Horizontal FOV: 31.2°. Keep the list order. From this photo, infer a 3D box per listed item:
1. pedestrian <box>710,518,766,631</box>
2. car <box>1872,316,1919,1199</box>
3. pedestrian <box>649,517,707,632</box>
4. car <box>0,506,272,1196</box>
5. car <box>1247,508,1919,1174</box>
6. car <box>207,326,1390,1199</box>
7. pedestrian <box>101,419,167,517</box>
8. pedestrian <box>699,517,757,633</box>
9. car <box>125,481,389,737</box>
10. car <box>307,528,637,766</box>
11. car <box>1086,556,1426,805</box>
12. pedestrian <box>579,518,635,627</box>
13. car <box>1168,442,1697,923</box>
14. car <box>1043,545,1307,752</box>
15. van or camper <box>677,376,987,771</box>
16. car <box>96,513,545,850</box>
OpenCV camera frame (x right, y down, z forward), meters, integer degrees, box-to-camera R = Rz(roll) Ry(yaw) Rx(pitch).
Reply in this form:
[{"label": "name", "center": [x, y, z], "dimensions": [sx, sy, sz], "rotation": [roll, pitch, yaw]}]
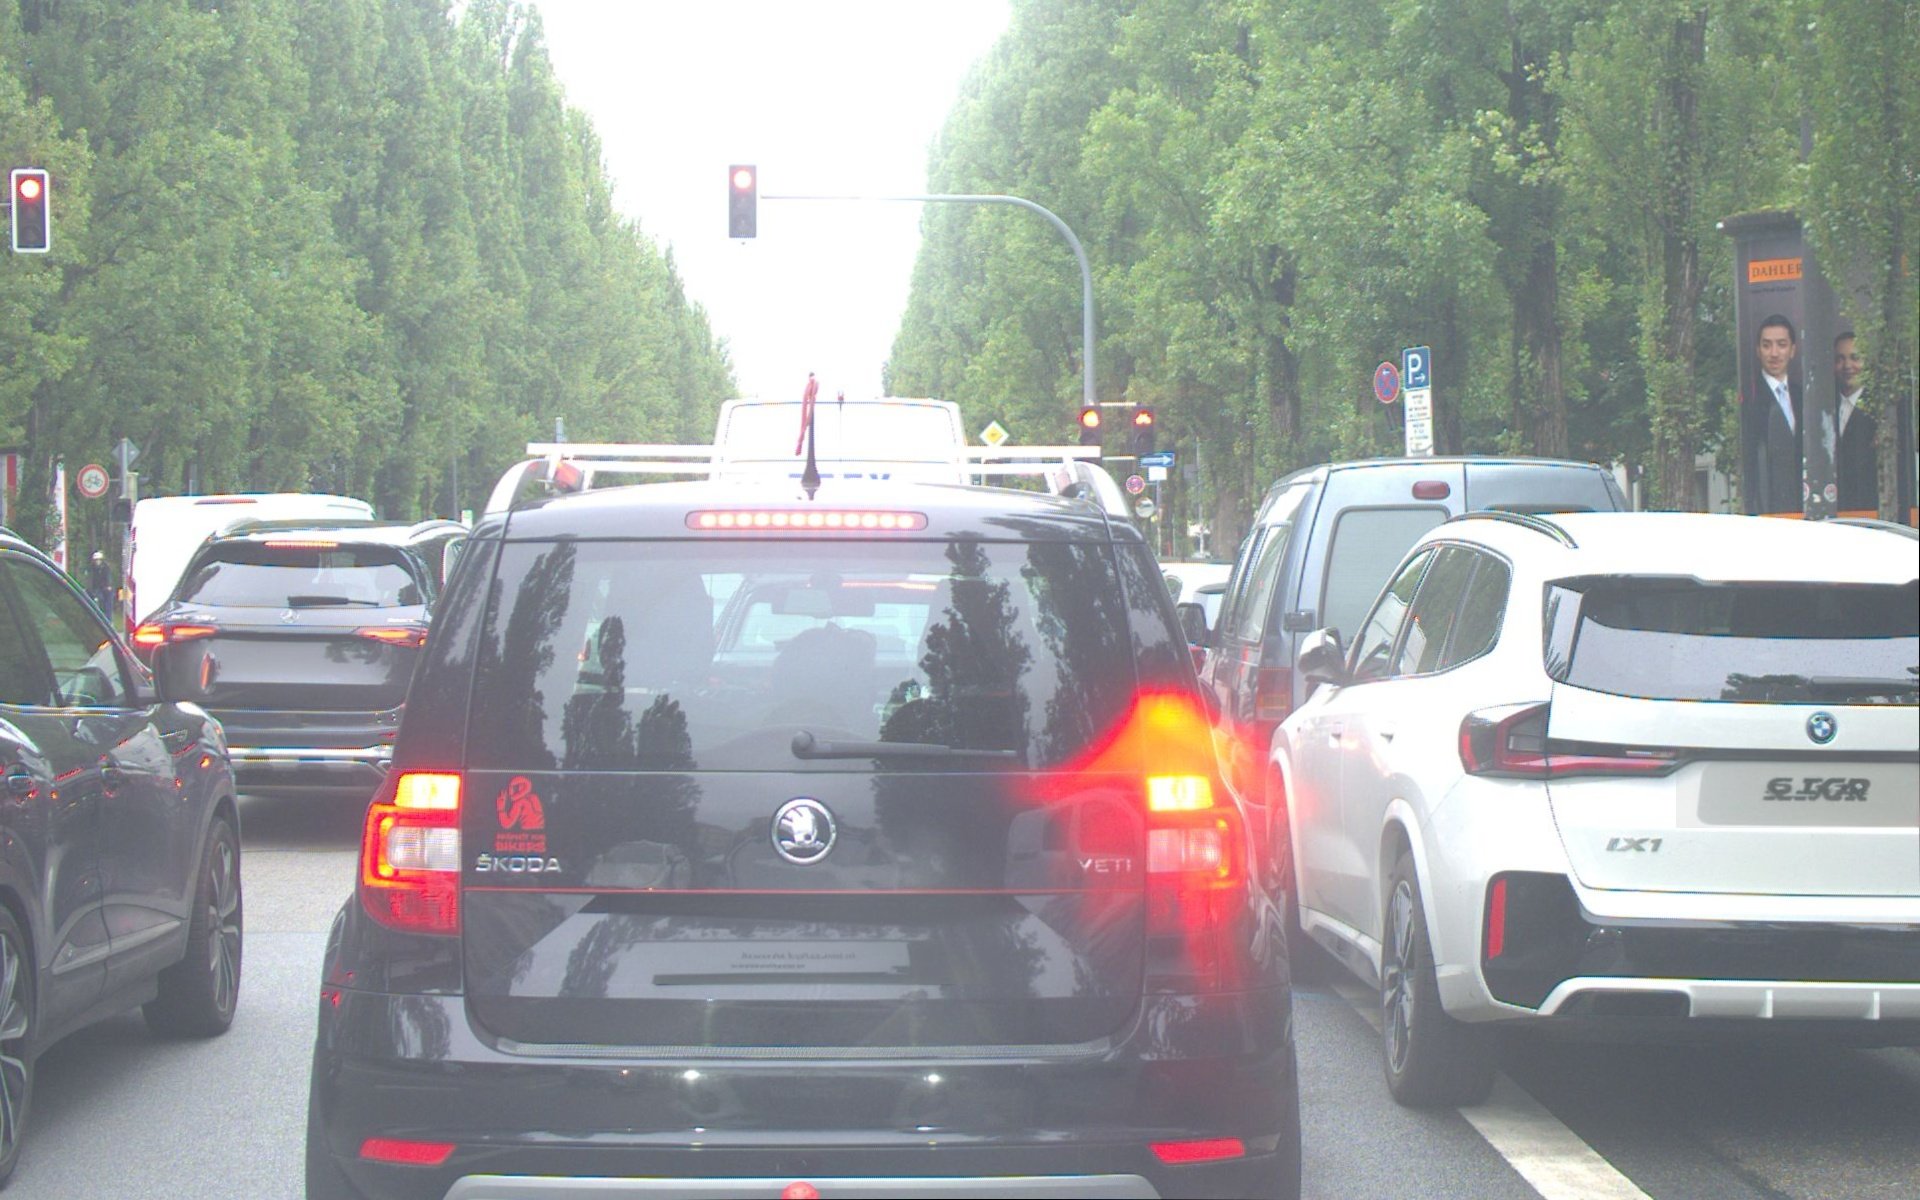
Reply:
[{"label": "pedestrian", "center": [-4.020, -0.468, 62.409], "dimensions": [0.885, 2.007, 1.013], "rotation": [-1, 1, 2]}, {"label": "car", "center": [2.438, 0.545, 3.317], "dimensions": [1.851, 1.875, 4.169], "rotation": [-1, 1, -2]}, {"label": "pedestrian", "center": [-5.027, -0.456, 61.260], "dimensions": [0.885, 2.007, 1.013], "rotation": [-1, 1, 2]}, {"label": "car", "center": [-3.118, 0.541, 8.977], "dimensions": [1.835, 1.580, 4.186], "rotation": [1, 1, -1]}, {"label": "car", "center": [1.972, 0.528, 10.388], "dimensions": [1.741, 1.587, 4.212], "rotation": [-1, 1, -1]}, {"label": "car", "center": [-0.305, 0.431, 7.480], "dimensions": [1.855, 1.764, 4.000], "rotation": [1, 1, -1]}, {"label": "pedestrian", "center": [-15.130, -2.413, 62.994], "dimensions": [0.880, 1.758, 0.878], "rotation": [-1, 1, 8]}, {"label": "pedestrian", "center": [-4.085, -0.448, 60.672], "dimensions": [0.885, 2.007, 1.013], "rotation": [-1, 1, 2]}, {"label": "car", "center": [-6.191, 0.040, 30.651], "dimensions": [1.781, 2.104, 4.025], "rotation": [-1, 1, -4]}, {"label": "car", "center": [-3.491, 0.279, 25.302], "dimensions": [1.993, 1.555, 4.001], "rotation": [-1, 2, -2]}, {"label": "car", "center": [1.784, 0.445, 21.736], "dimensions": [1.735, 1.382, 3.563], "rotation": [-1, 1, -2]}, {"label": "pedestrian", "center": [-6.588, -0.518, 64.180], "dimensions": [0.885, 2.007, 1.013], "rotation": [-1, 1, 2]}, {"label": "car", "center": [1.999, 0.281, 15.660], "dimensions": [1.735, 1.888, 4.025], "rotation": [-1, 1, -2]}, {"label": "car", "center": [1.624, 0.326, 27.036], "dimensions": [1.735, 1.470, 3.563], "rotation": [-1, 1, -2]}, {"label": "van or camper", "center": [-0.939, -0.216, 24.338], "dimensions": [1.975, 2.539, 4.025], "rotation": [-1, 1, -3]}, {"label": "car", "center": [-3.353, 0.351, 18.736], "dimensions": [1.781, 1.614, 4.025], "rotation": [1, 1, -2]}]
